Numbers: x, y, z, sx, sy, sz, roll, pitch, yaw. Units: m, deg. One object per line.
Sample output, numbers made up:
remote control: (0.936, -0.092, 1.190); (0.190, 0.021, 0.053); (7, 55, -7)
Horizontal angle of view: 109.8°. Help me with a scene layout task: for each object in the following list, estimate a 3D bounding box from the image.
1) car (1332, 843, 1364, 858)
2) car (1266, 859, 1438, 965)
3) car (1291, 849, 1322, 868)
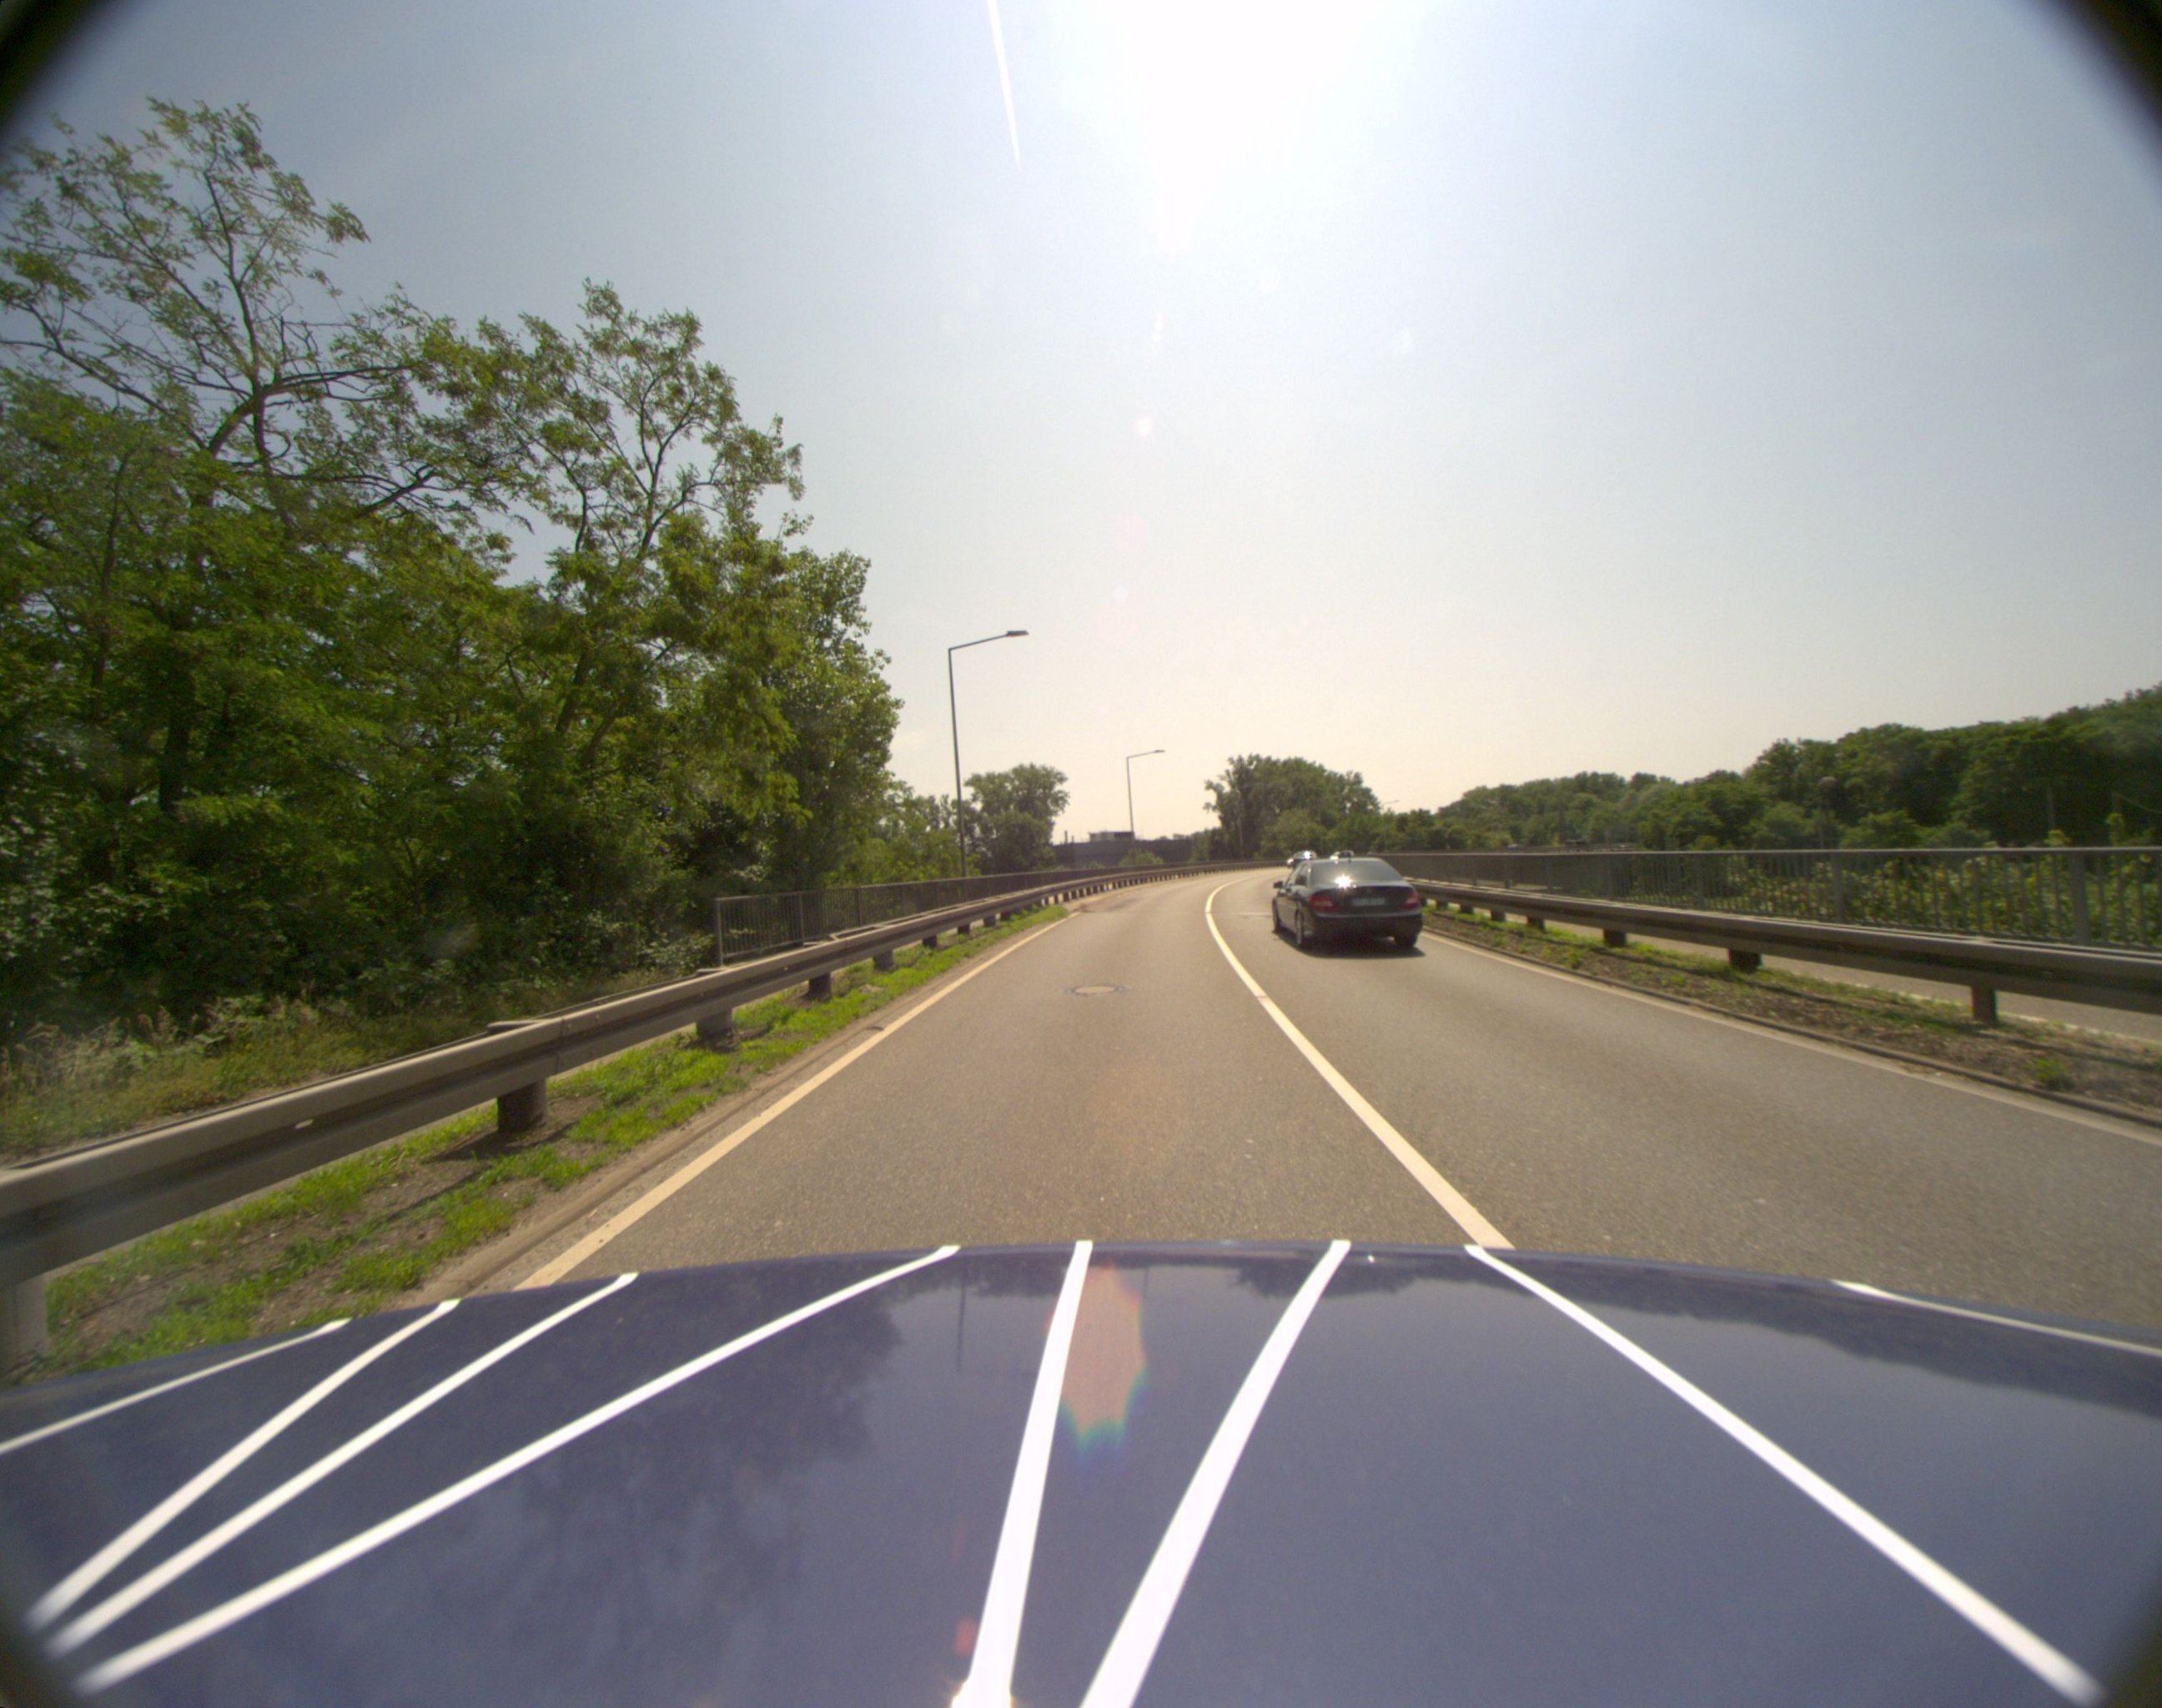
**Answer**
car: (27.358, -0.376, 77.790); (1.804, 1.408, 4.366); (-2, 0, 37)
car: (4.355, 0.844, 12.939); (1.807, 1.408, 4.360); (-2, 0, 7)
car: (18.208, 0.337, 61.149); (1.805, 1.408, 4.364); (-2, 0, 24)
